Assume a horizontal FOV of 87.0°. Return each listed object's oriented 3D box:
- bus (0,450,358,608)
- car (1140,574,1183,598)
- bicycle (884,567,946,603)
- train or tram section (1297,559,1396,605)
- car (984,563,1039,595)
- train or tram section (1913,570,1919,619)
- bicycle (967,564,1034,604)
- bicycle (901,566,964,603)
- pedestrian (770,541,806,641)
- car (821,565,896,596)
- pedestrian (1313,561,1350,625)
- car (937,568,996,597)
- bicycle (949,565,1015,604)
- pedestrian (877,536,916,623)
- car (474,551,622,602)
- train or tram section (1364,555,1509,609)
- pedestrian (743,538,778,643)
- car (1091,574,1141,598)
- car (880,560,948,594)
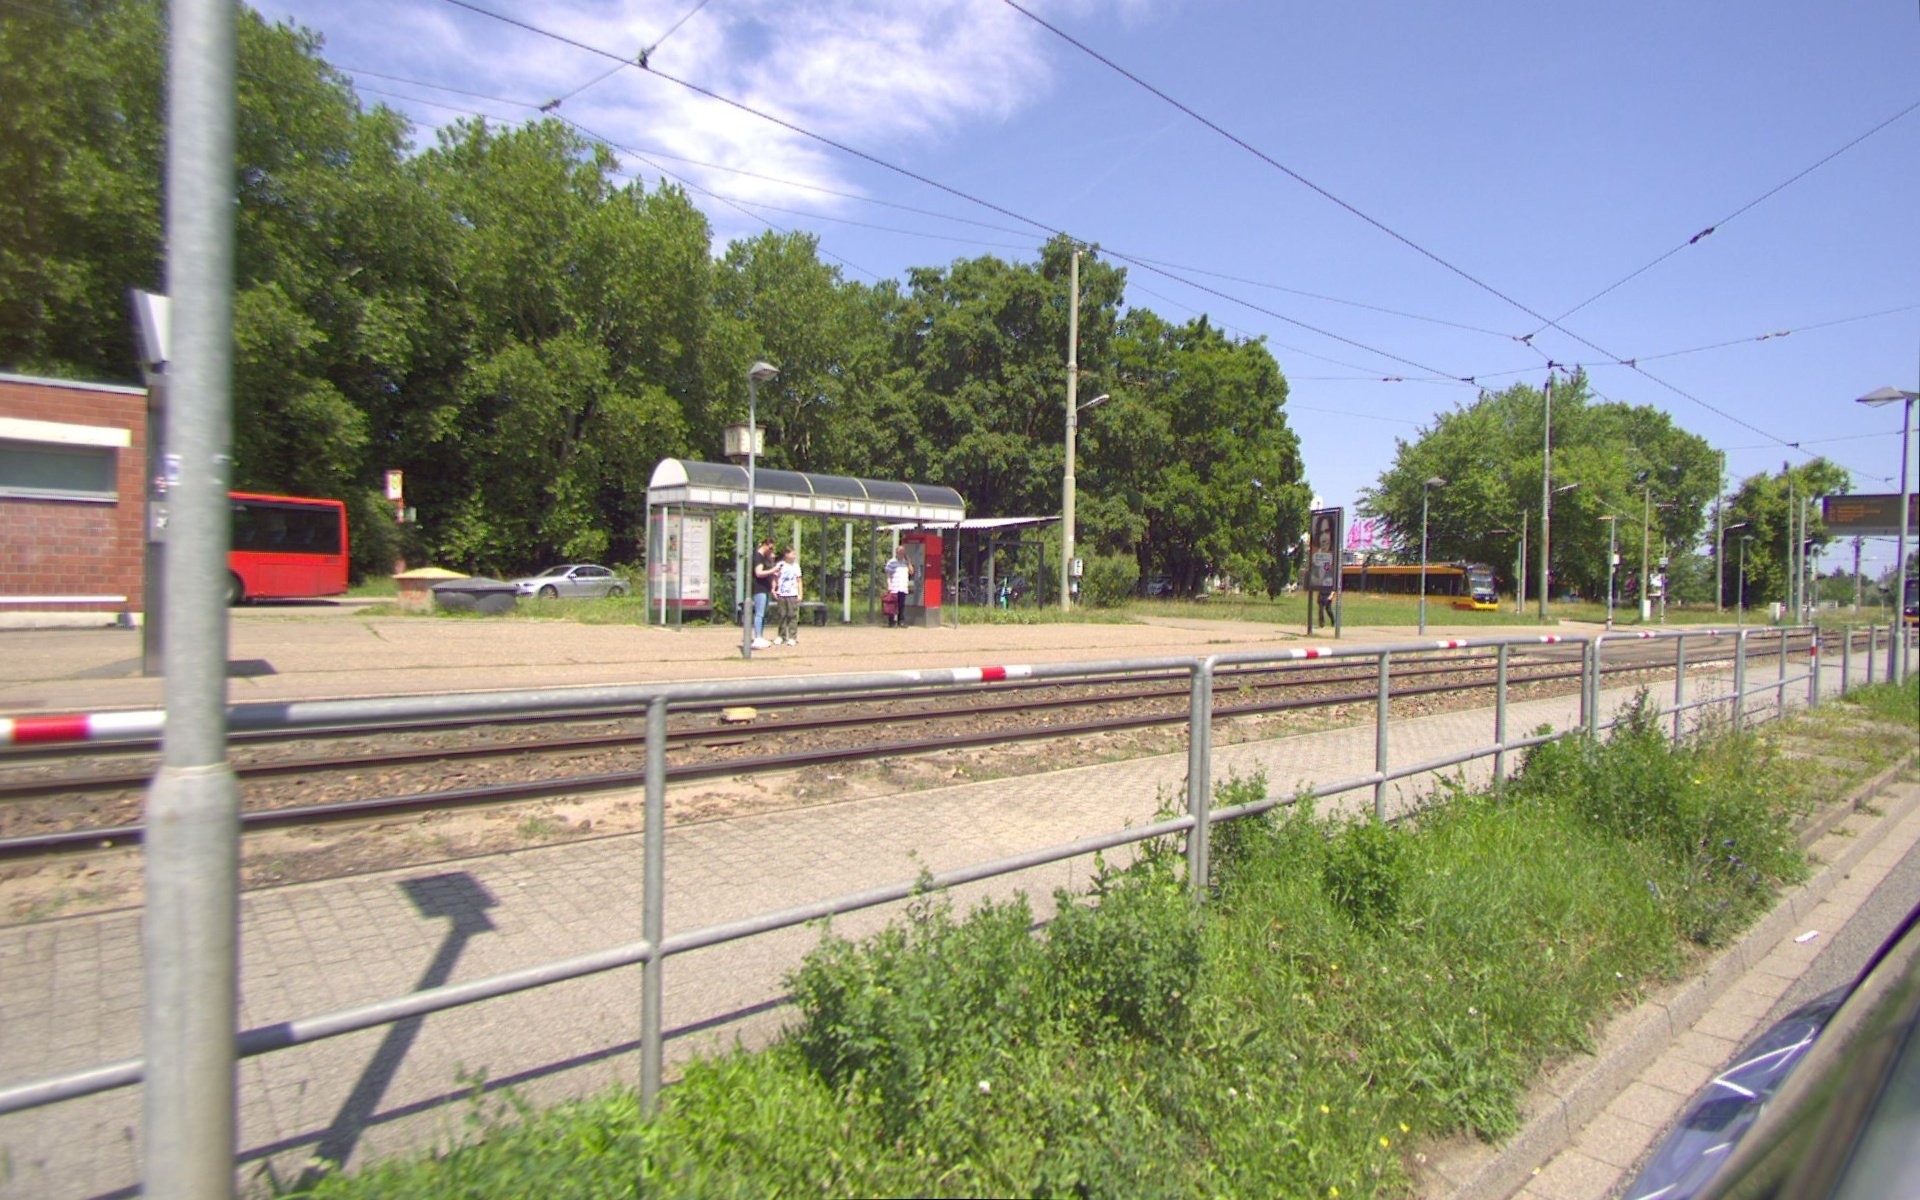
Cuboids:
[{"bbox_3d":[-21.513,-1.591,24.355,2.745,3.482,12.312,0,1,30],"label":"bus"},{"bbox_3d":[14.219,-0.988,71.221,1.689,1.558,4.570,3,2,28],"label":"car"},{"bbox_3d":[-1.525,-0.520,34.875,2.151,1.101,0.599,3,0,-39],"label":"bicycle"},{"bbox_3d":[33.421,-1.577,88.255,2.662,3.695,13.264,0,1,-4],"label":"train or tram section"},{"bbox_3d":[3.459,-1.374,67.287,1.985,2.038,3.955,3,2,32],"label":"car"},{"bbox_3d":[69.730,-0.295,71.459,7.129,3.364,2.524,1,2,-39],"label":"train or tram section"},{"bbox_3d":[1.261,-0.478,31.071,2.151,1.101,0.599,3,0,-39],"label":"bicycle"},{"bbox_3d":[-0.900,-0.507,33.873,2.151,1.101,0.599,3,0,-39],"label":"bicycle"},{"bbox_3d":[-2.843,-0.149,16.685,0.474,1.616,0.361,0,0,-37],"label":"pedestrian"},{"bbox_3d":[-5.185,-0.996,52.170,1.873,1.530,3.957,3,2,31],"label":"car"},{"bbox_3d":[10.657,-0.198,29.057,0.645,1.786,0.708,1,2,-38],"label":"pedestrian"},{"bbox_3d":[0.420,-1.048,62.160,1.840,1.682,3.955,3,2,32],"label":"car"},{"bbox_3d":[0.714,-0.481,31.757,2.151,1.101,0.599,3,0,-39],"label":"bicycle"},{"bbox_3d":[-1.338,-0.423,21.262,0.726,1.796,0.382,0,0,-37],"label":"pedestrian"},{"bbox_3d":[-14.624,-0.824,36.185,1.983,1.649,4.677,3,2,29],"label":"car"},{"bbox_3d":[35.030,-1.307,75.339,2.659,3.695,13.209,0,1,-10],"label":"train or tram section"},{"bbox_3d":[-3.228,-0.160,16.372,0.437,1.667,0.361,0,0,-37],"label":"pedestrian"},{"bbox_3d":[10.010,-0.886,64.789,1.941,1.440,3.907,3,2,28],"label":"car"},{"bbox_3d":[-2.531,-1.249,56.793,1.983,1.793,3.958,2,2,29],"label":"car"}]
